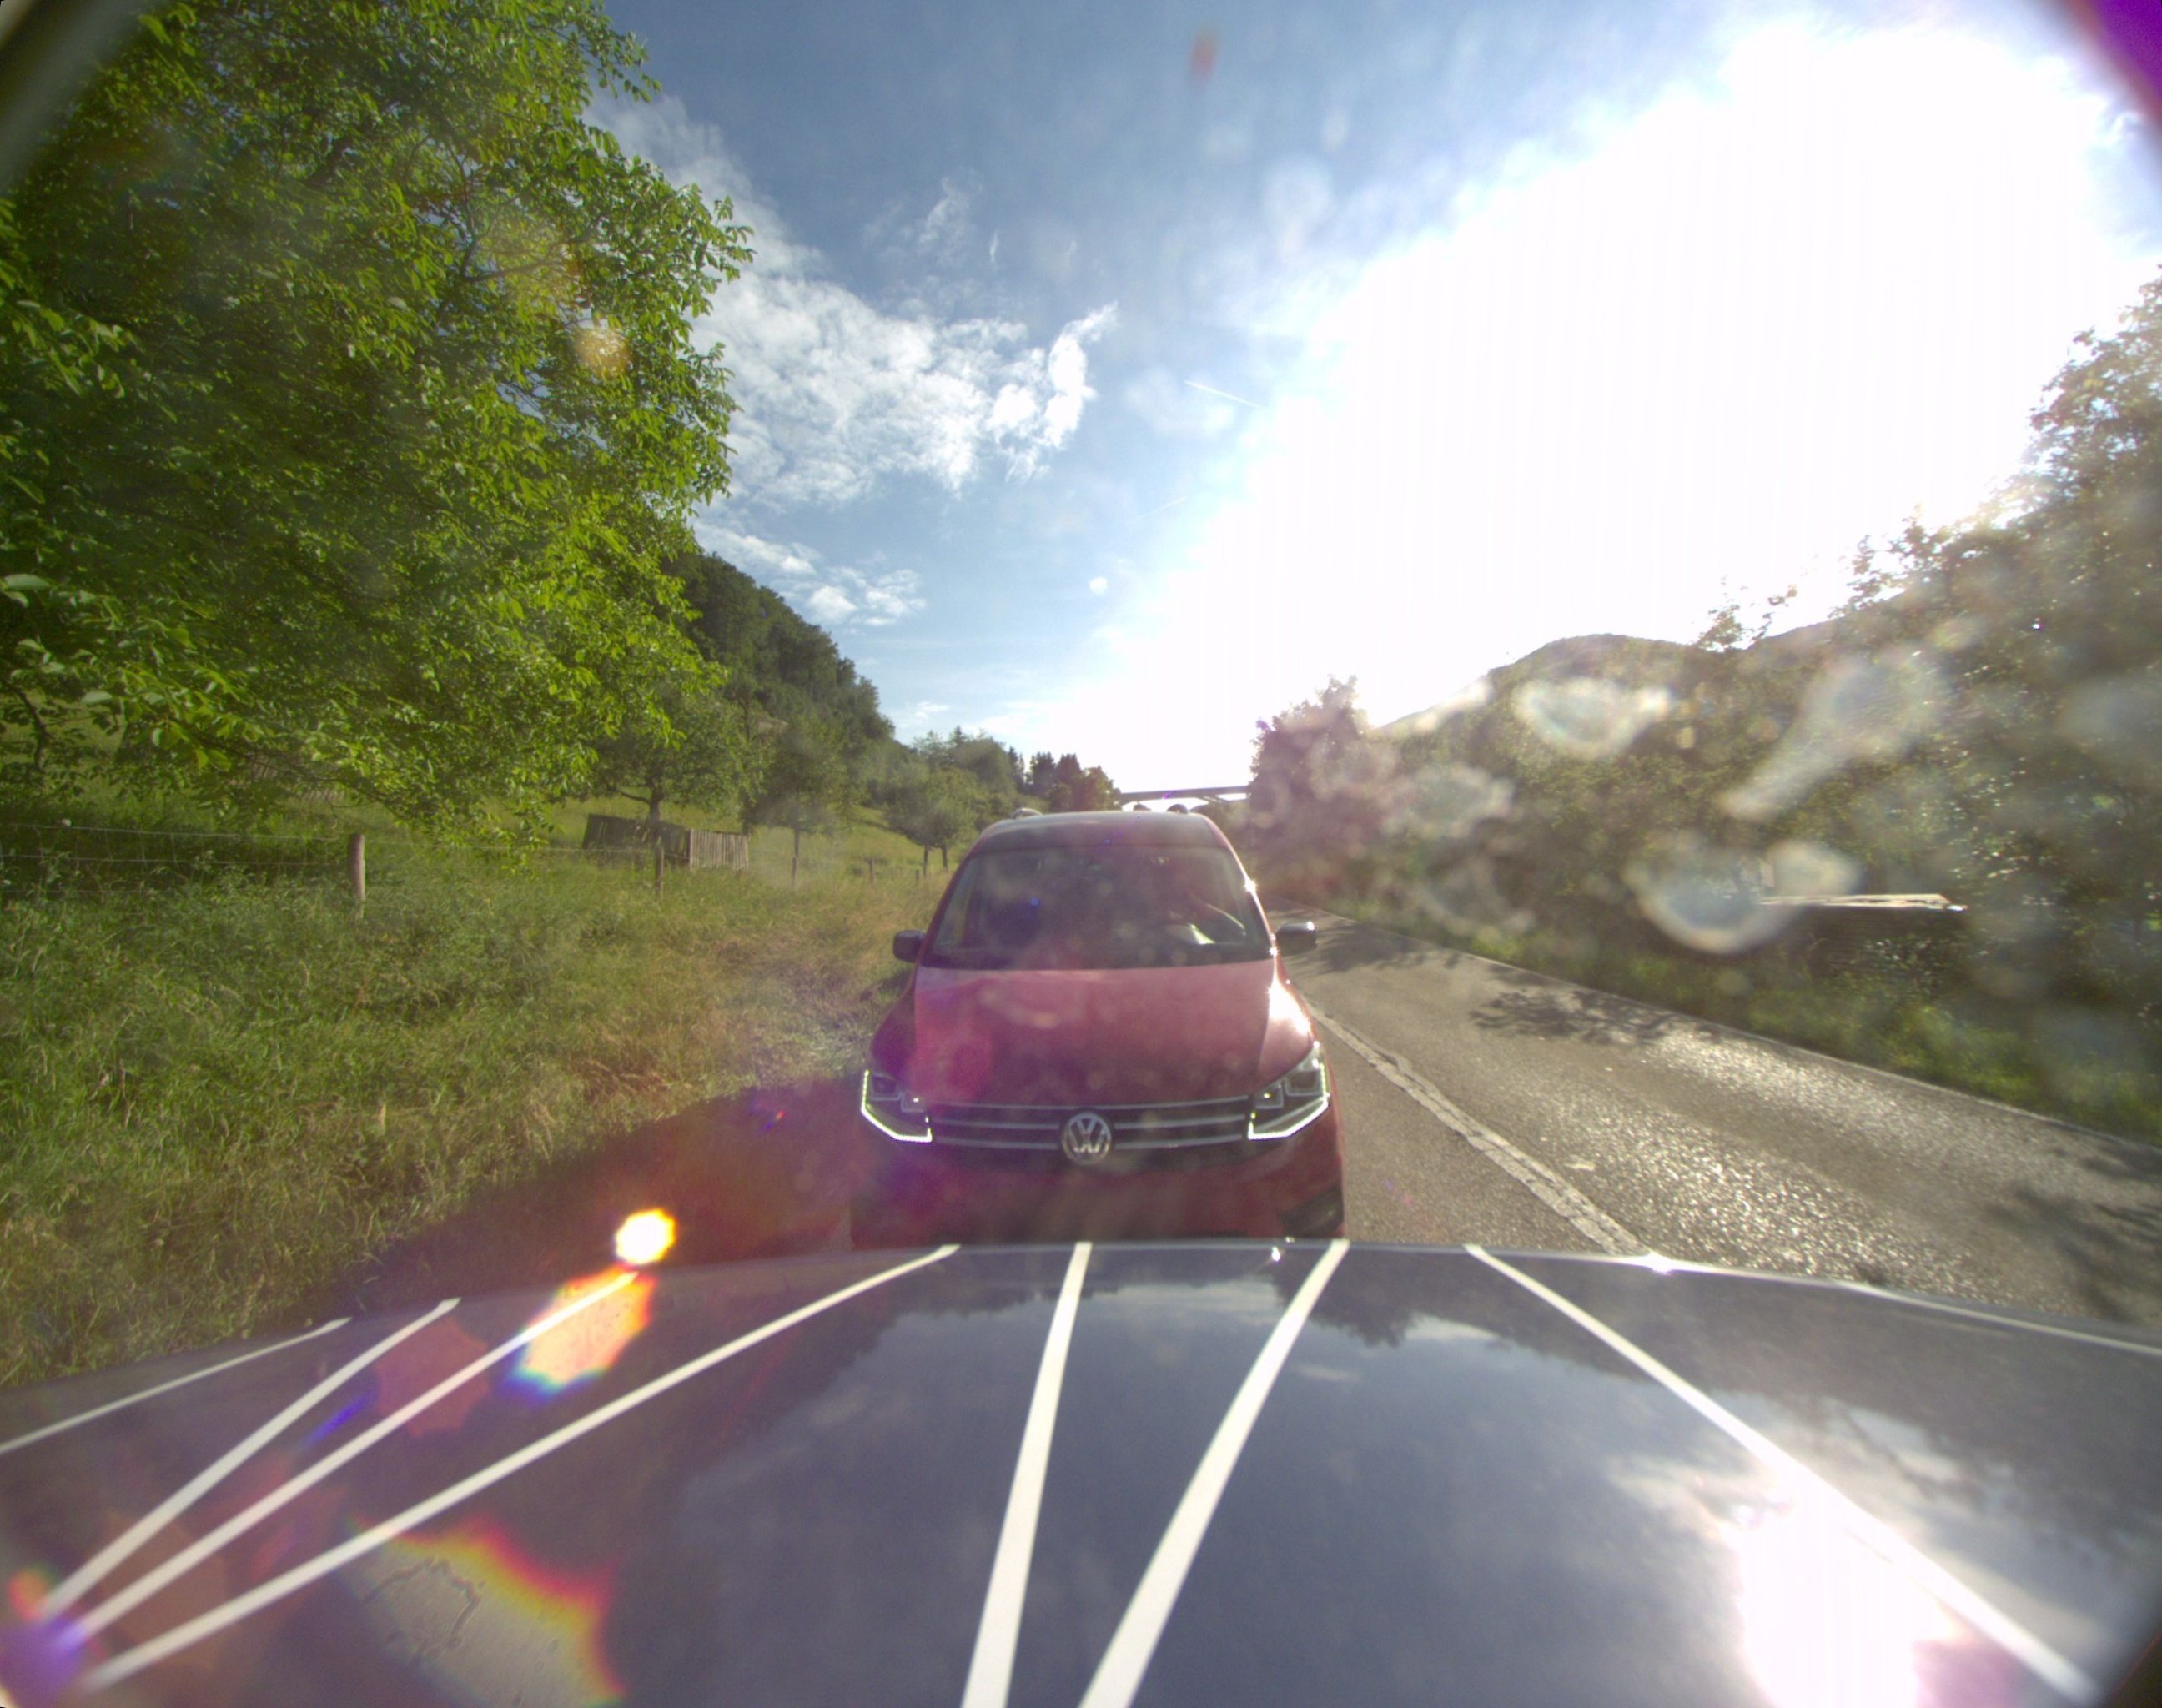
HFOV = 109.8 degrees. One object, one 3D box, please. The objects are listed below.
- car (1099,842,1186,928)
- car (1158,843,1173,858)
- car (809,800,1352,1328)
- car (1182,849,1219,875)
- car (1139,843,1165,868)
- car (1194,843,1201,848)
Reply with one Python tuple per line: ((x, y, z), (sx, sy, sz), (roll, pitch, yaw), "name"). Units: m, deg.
((1.454, 0.623, 17.935), (1.758, 1.745, 4.001), (-2, 1, 5), "car")
((11.723, -0.502, 105.093), (1.997, 2.002, 4.001), (-2, 1, 6), "car")
((0.133, 0.695, 4.756), (1.759, 1.745, 4.430), (-2, 1, 4), "car")
((7.224, 0.442, 46.114), (1.708, 1.422, 4.050), (-2, 1, 2), "car")
((5.872, 0.090, 63.118), (1.998, 2.002, 4.000), (-2, 1, 4), "car")
((35.945, -2.603, 234.176), (1.597, 1.346, 4.204), (-2, 1, 5), "car")
